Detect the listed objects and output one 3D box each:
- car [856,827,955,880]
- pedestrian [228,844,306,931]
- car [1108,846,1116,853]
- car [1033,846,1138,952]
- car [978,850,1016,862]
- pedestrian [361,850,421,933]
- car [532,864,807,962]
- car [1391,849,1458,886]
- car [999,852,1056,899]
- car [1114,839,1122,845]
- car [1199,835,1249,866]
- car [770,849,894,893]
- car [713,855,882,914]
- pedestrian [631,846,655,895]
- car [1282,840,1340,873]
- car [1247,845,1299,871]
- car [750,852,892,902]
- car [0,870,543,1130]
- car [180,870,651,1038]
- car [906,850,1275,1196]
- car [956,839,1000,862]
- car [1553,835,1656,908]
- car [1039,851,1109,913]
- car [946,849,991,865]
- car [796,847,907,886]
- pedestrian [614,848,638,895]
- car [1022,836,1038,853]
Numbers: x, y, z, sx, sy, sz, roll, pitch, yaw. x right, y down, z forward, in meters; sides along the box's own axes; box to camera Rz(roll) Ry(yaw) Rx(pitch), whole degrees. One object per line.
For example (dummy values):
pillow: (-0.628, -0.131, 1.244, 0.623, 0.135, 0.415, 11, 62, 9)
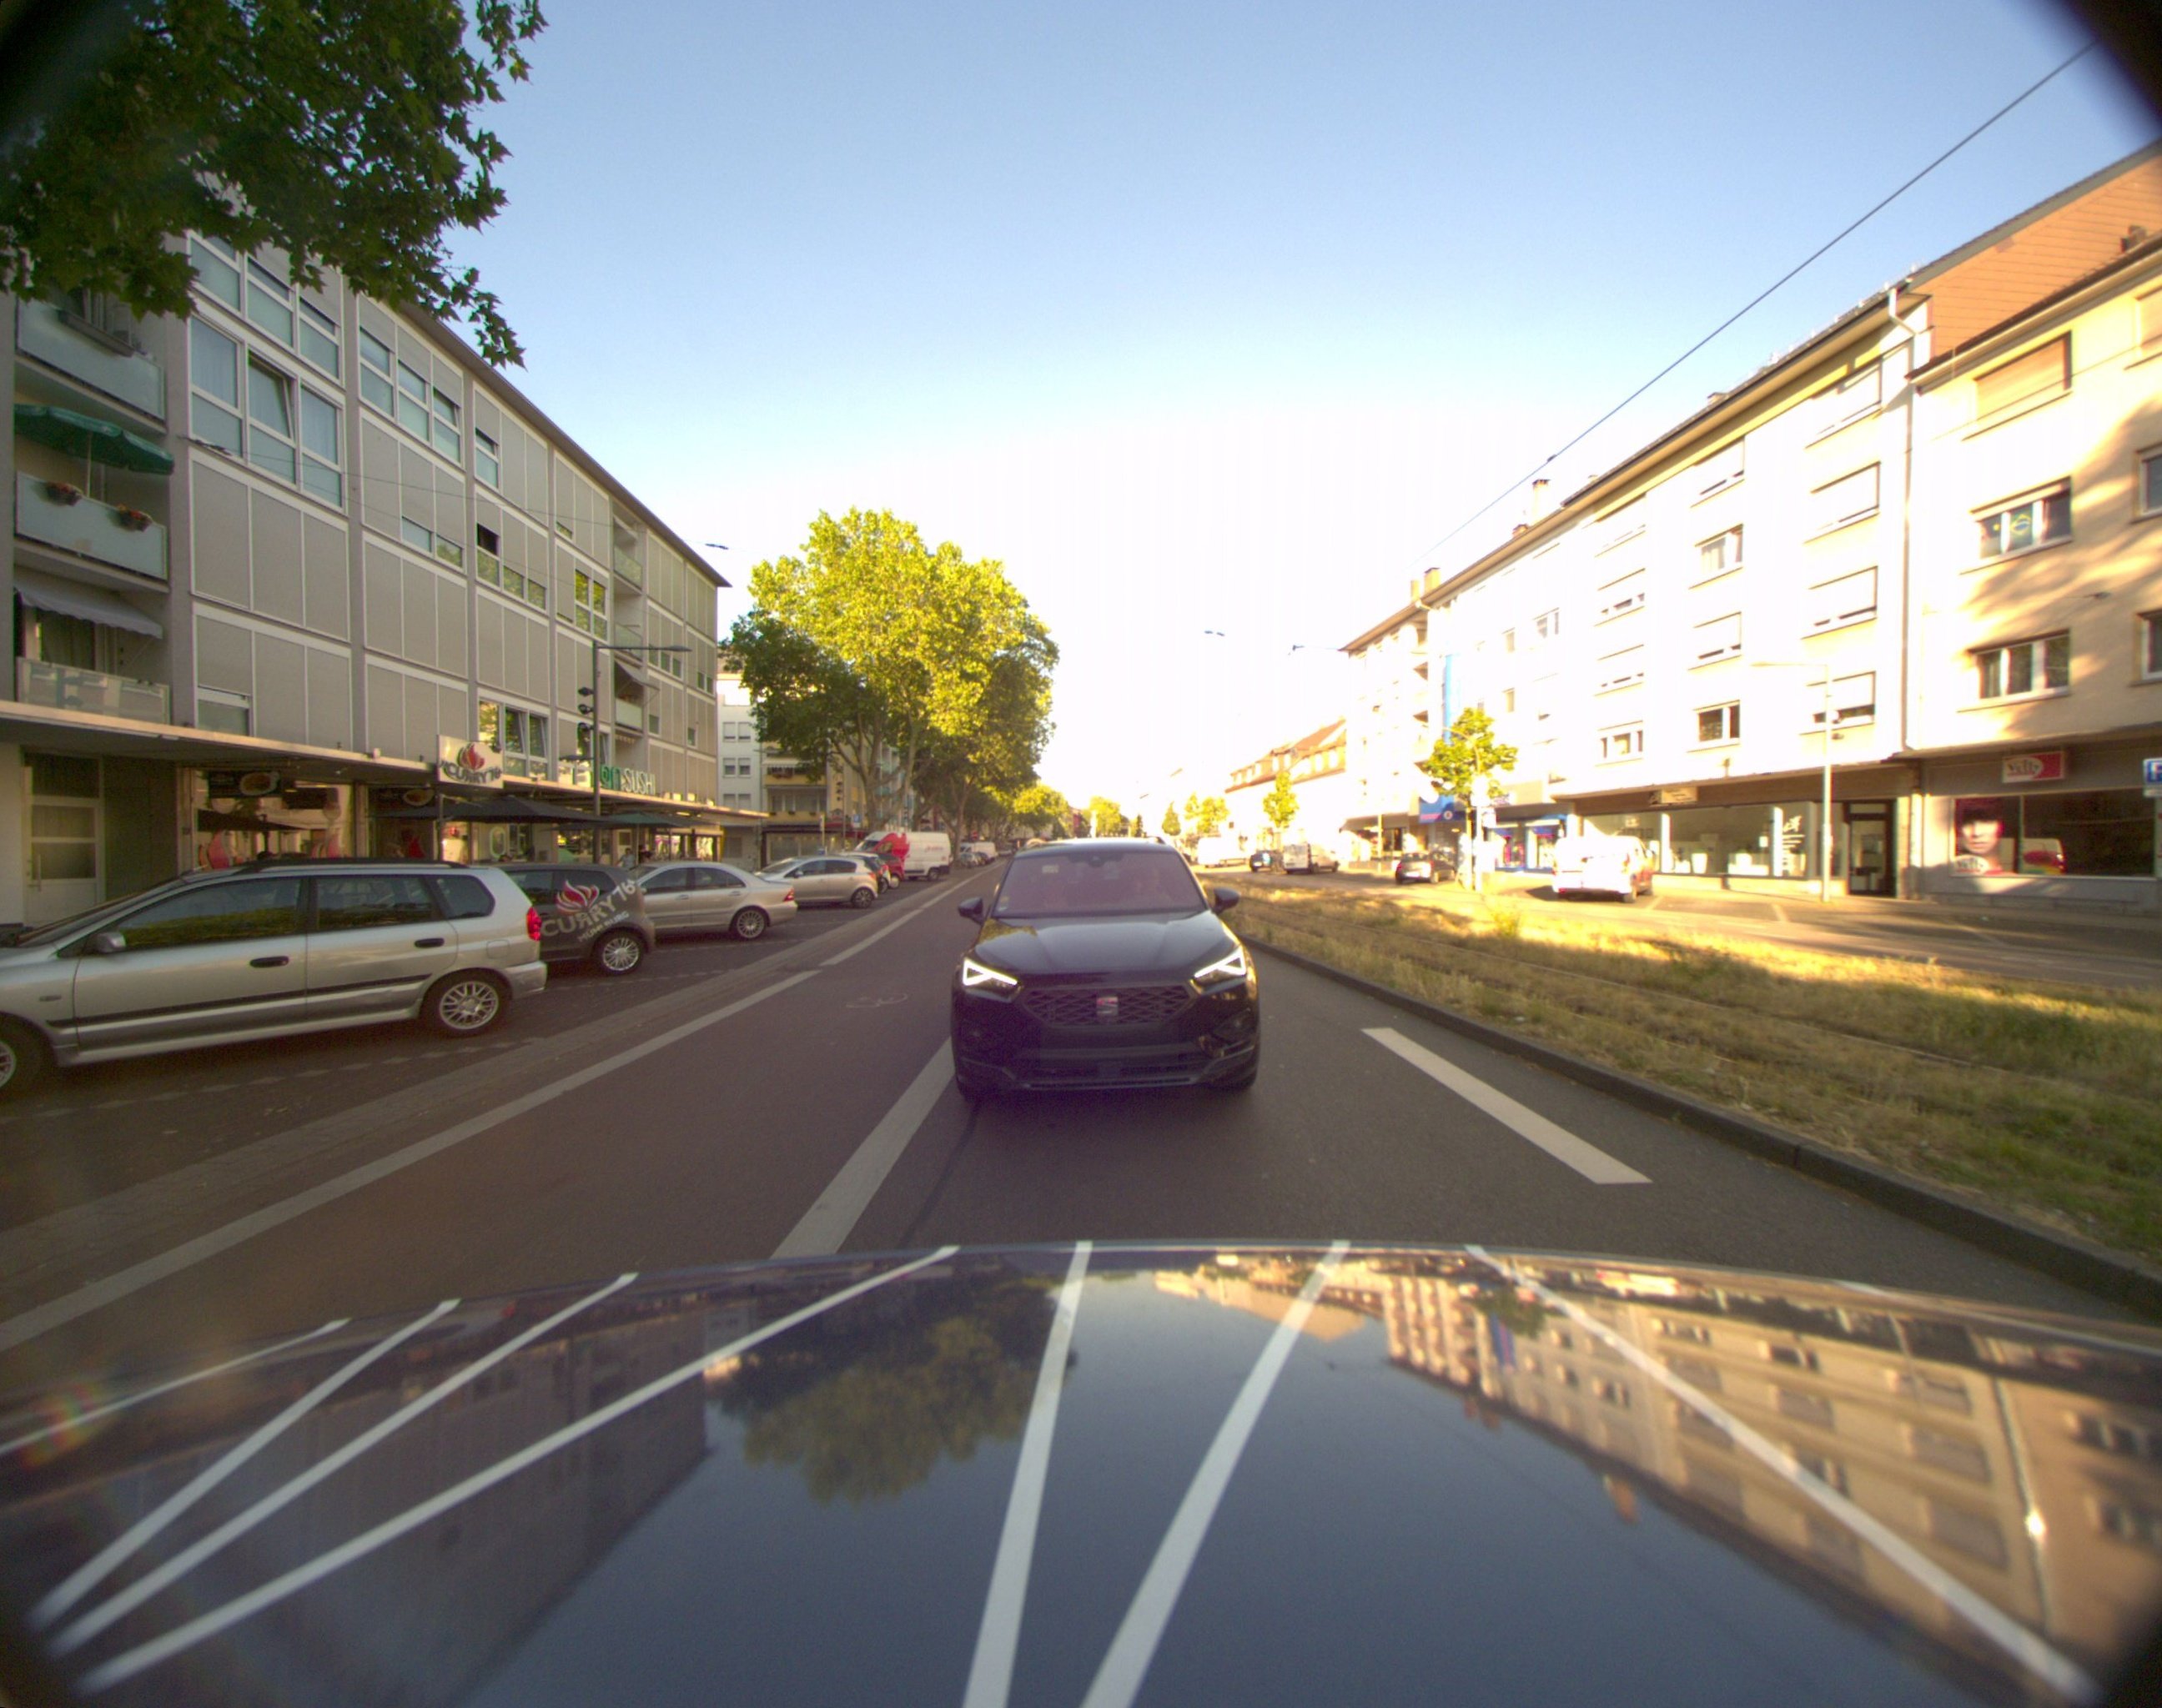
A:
car: (-8.685, 0.006, 37.929, 4.606, 2.479, 1.672, 0, -1, -44)
pedestrian: (-15.159, 0.611, 14.166, 0.583, 1.573, 0.771, 0, 1, 2)
car: (7.736, -1.110, 191.129, 1.846, 1.571, 4.449, 0, 1, -1)
car: (0.053, 0.706, 14.280, 1.646, 1.646, 3.999, -2, 1, -1)
car: (-9.126, 0.207, 82.625, 1.778, 1.326, 3.943, 1, 1, 44)
pedestrian: (-13.225, 0.700, 14.578, 0.561, 1.567, 0.642, 0, 1, -5)
car: (-7.105, 0.918, 13.422, 1.592, 1.393, 3.950, 2, 1, 41)
car: (15.395, 0.567, 33.937, 1.731, 1.489, 4.008, -1, 1, 40)
car: (-1.813, 0.703, 26.889, 1.729, 1.443, 4.227, -2, 1, -1)
car: (10.776, -3.524, 220.659, 1.999, 1.783, 3.998, 0, 1, -4)
car: (12.972, -0.357, 68.606, 1.922, 2.599, 6.601, -1, 1, 34)
car: (-8.946, 0.629, 27.380, 3.948, 1.421, 1.672, 2, 2, -32)
car: (-7.563, 0.780, 20.491, 3.950, 1.420, 1.555, 1, 1, -45)
pedestrian: (-15.415, 0.572, 26.735, 0.545, 1.710, 0.457, 0, 1, -4)
car: (14.525, 0.116, 47.847, 1.853, 1.927, 4.513, -1, 1, 40)
car: (13.793, 0.248, 54.528, 3.922, 1.704, 1.853, -2, 1, -45)
car: (-8.253, 0.723, 24.190, 3.949, 1.420, 1.672, 1, 1, -34)
car: (-6.889, 0.953, 5.998, 1.672, 1.533, 3.993, 2, 1, 38)
car: (-7.559, 0.960, 8.999, 1.672, 1.420, 3.950, 2, 1, 38)
car: (0.075, 0.839, 5.800, 1.785, 1.639, 3.999, -2, 1, 1)
car: (-11.493, -0.419, 85.053, 1.973, 2.454, 4.605, 1, 1, 44)
car: (15.596, 0.457, 22.562, 1.853, 1.888, 4.007, -1, 2, 44)
car: (-0.202, 0.707, 21.240, 1.729, 1.467, 3.999, -2, 1, -1)
car: (-10.771, 0.276, 72.853, 1.778, 1.396, 3.943, 1, 1, 44)
car: (-9.205, 0.518, 30.561, 3.948, 1.421, 1.672, 2, 2, -30)
pedestrian: (-15.971, 0.606, 26.668, 0.537, 1.630, 0.478, 0, 1, -4)
car: (-9.642, -1.849, 145.237, 2.660, 2.989, 7.131, -2, 1, -2)
